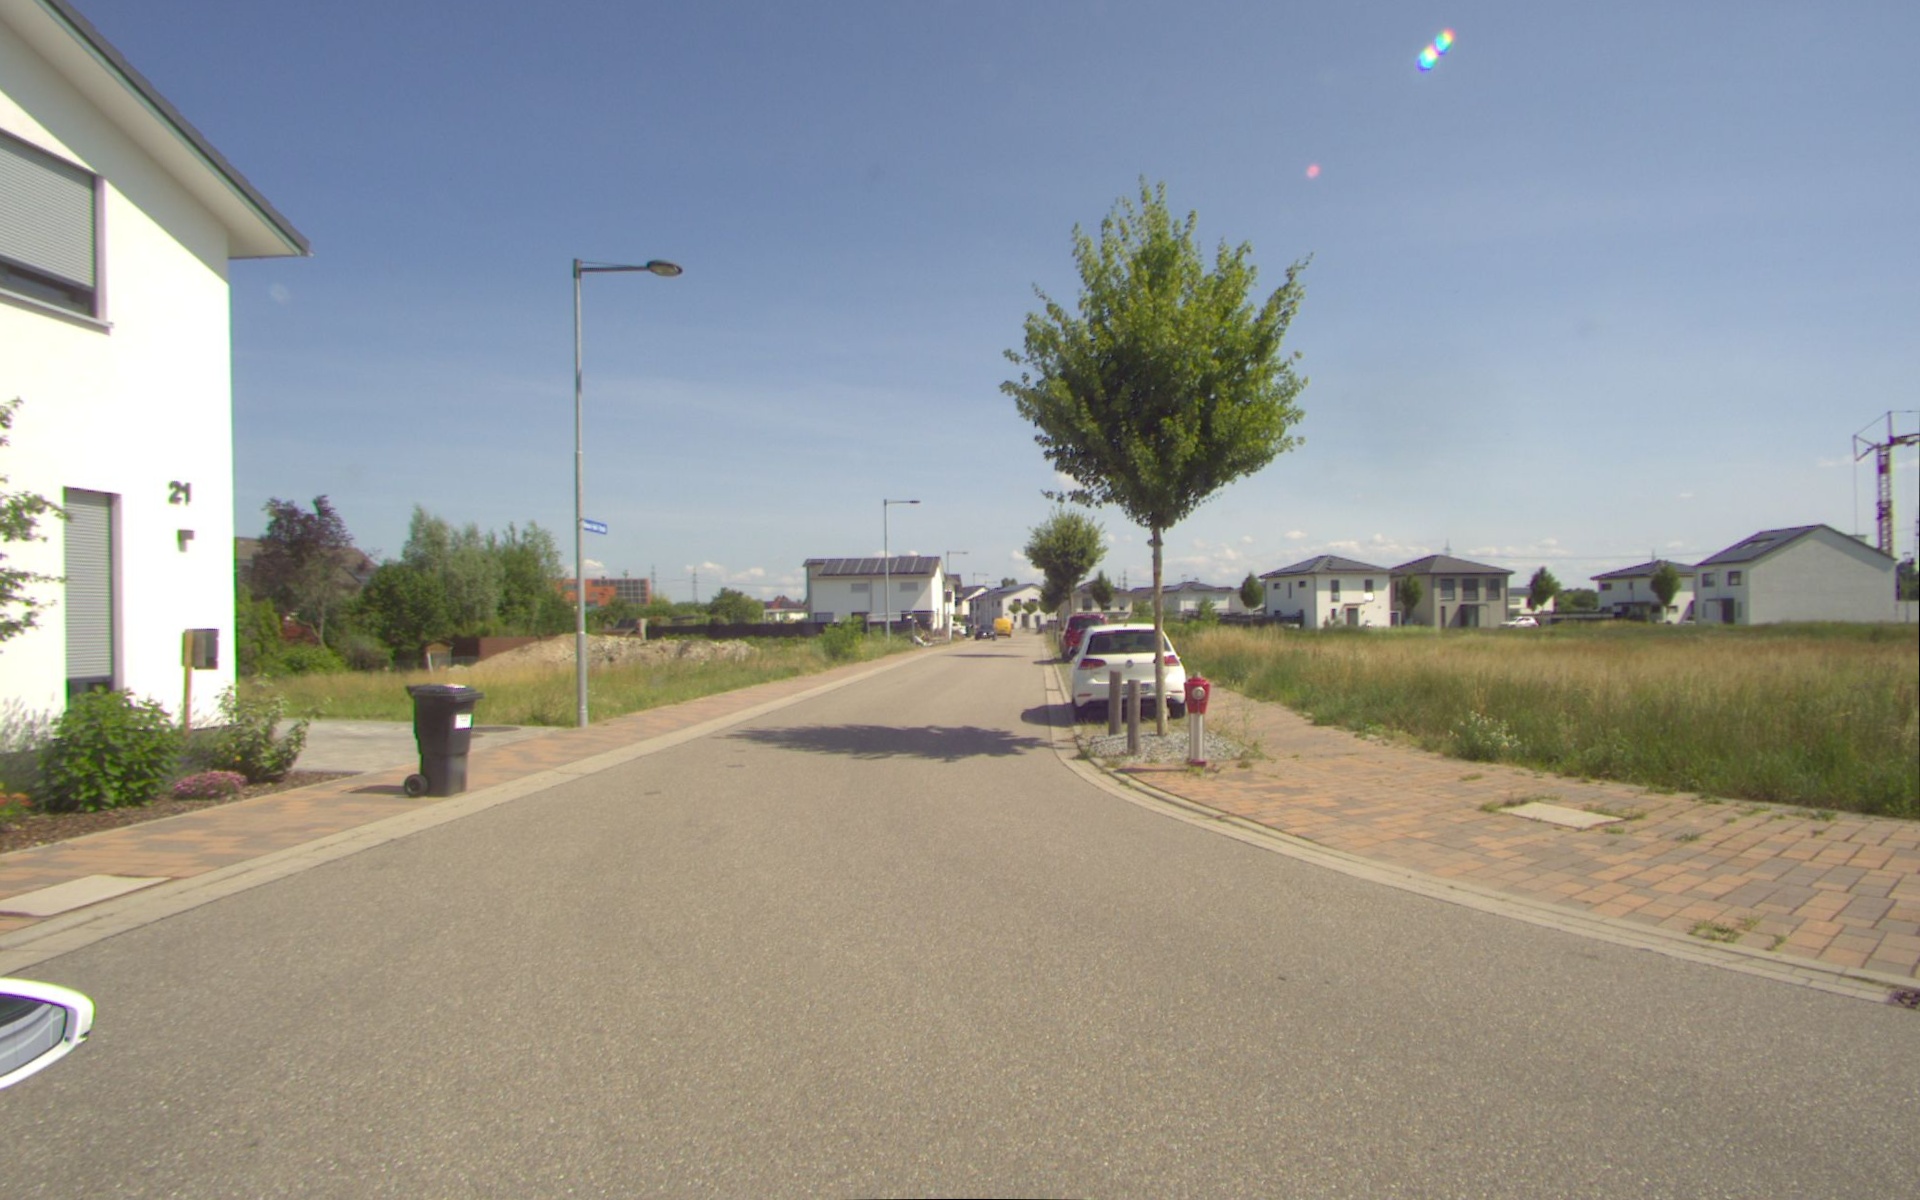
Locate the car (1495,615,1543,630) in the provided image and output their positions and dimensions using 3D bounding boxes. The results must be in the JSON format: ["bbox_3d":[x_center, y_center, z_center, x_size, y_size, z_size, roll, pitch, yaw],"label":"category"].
[{"bbox_3d":[55.684,2.273,99.852,3.924,1.416,1.750,0,-2,-9],"label":"car"}]

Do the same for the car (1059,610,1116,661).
[{"bbox_3d":[4.532,1.229,36.230,1.748,1.685,4.434,-2,-1,4],"label":"car"}]

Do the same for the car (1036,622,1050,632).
[{"bbox_3d":[12.130,3.986,146.871,1.601,1.338,3.837,0,-3,-2],"label":"car"}]

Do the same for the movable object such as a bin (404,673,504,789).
[{"bbox_3d":[-4.393,1.123,8.724,0.613,0.960,0.500,0,-1,0],"label":"movable object such as a bin"}]

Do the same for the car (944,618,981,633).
[{"bbox_3d":[0.293,3.058,119.872,4.098,1.523,1.814,4,-2,-11],"label":"car"}]

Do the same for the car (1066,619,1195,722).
[{"bbox_3d":[2.745,1.086,16.924,1.747,1.438,4.165,-2,-1,5],"label":"car"}]

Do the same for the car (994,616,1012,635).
[{"bbox_3d":[4.648,2.820,108.706,1.910,2.006,4.219,0,-2,1],"label":"car"}]

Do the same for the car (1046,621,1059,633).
[{"bbox_3d":[11.811,3.416,128.213,1.612,1.420,3.813,-1,-3,4],"label":"car"}]

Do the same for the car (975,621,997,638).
[{"bbox_3d":[2.304,2.614,88.758,1.717,1.423,4.160,2,-1,4],"label":"car"}]

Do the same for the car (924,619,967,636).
[{"bbox_3d":[-1.428,2.730,99.569,4.004,1.602,1.783,1,0,11],"label":"car"}]
